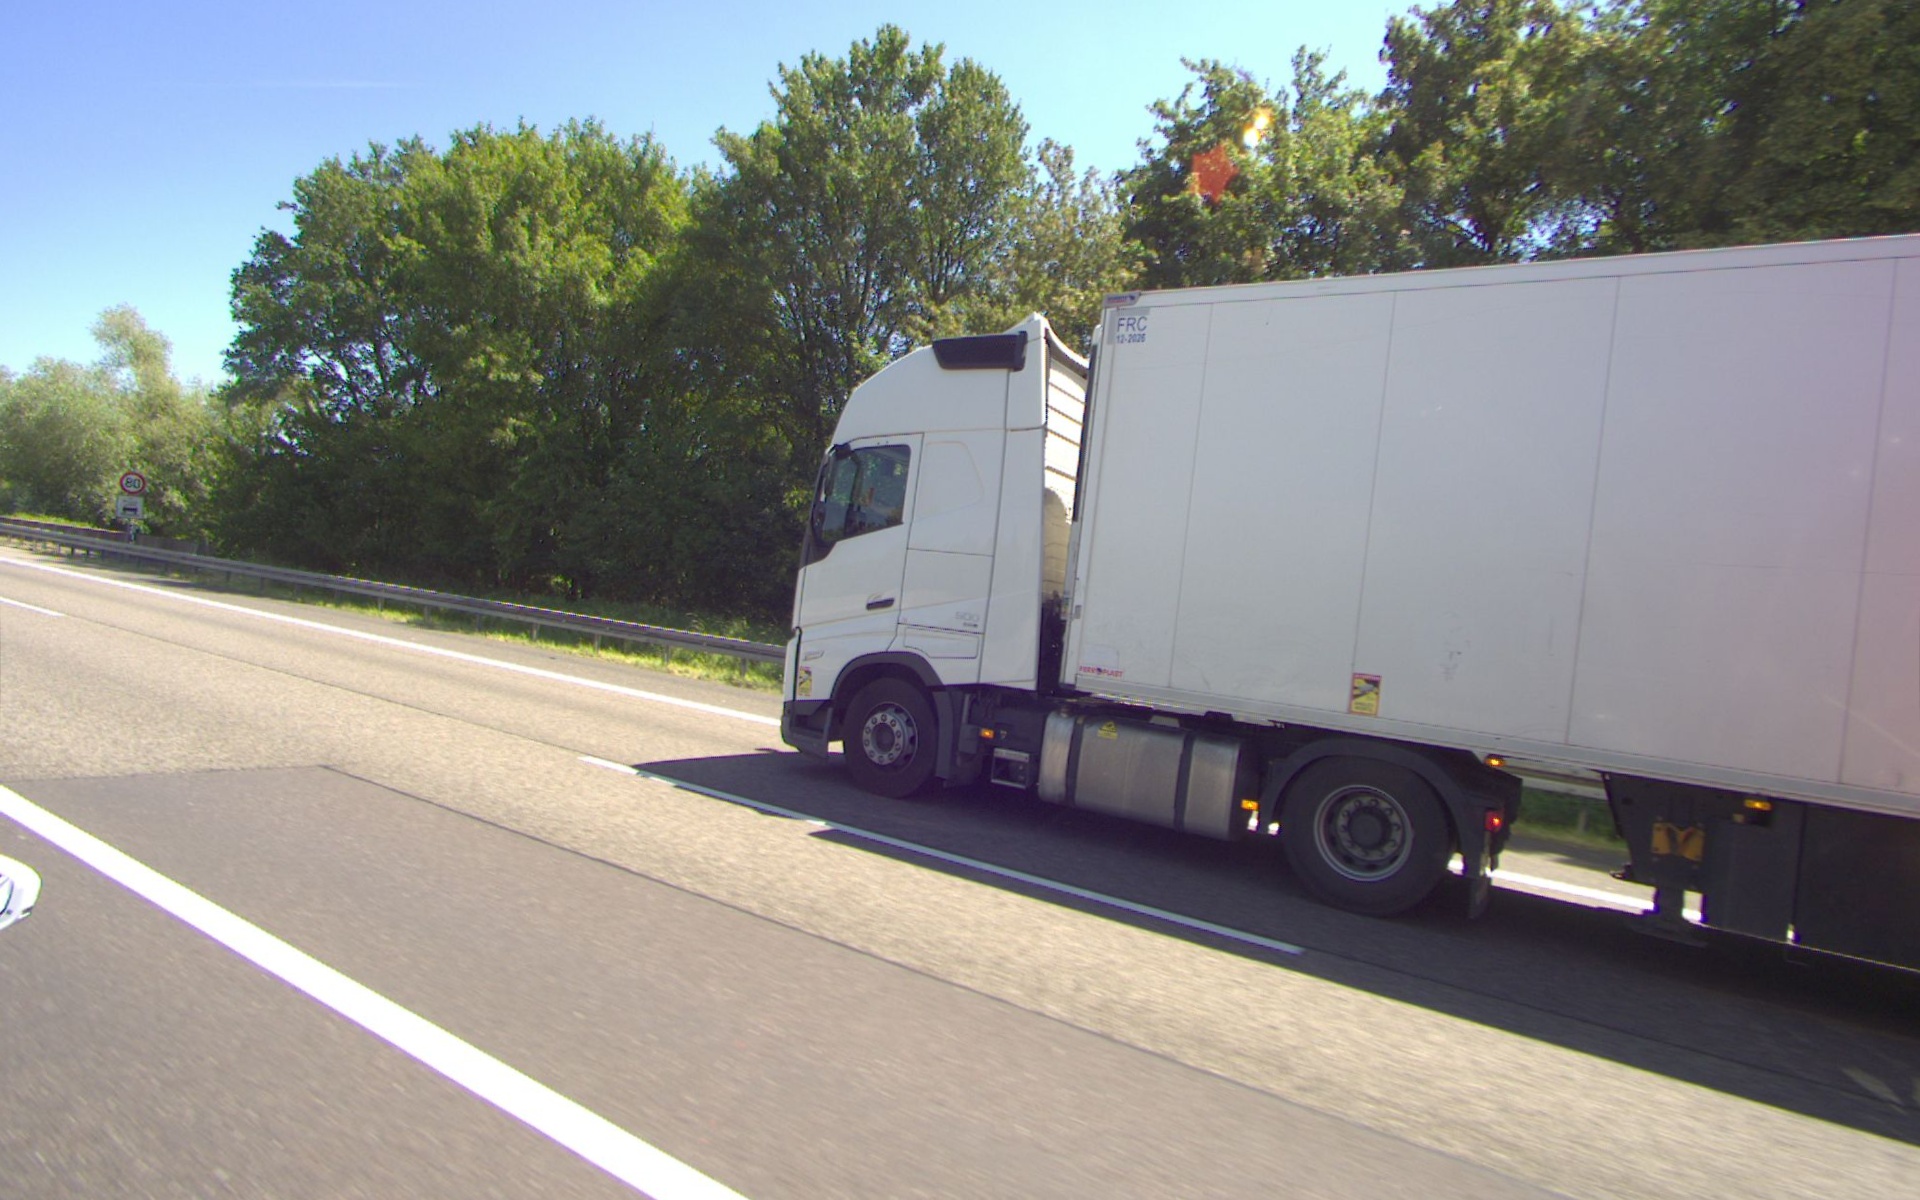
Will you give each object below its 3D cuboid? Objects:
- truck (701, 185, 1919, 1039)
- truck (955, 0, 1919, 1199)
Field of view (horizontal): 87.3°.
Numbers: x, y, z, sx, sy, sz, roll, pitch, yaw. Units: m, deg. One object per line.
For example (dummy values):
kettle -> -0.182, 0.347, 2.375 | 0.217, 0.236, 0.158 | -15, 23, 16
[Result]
truck -> 3.189, -0.089, 7.615 | 10.797, 4.141, 3.030 | 6, -1, 32
truck -> 3.510, -0.071, 2.354 | 6.000, 4.033, 2.946 | 6, -1, 31
